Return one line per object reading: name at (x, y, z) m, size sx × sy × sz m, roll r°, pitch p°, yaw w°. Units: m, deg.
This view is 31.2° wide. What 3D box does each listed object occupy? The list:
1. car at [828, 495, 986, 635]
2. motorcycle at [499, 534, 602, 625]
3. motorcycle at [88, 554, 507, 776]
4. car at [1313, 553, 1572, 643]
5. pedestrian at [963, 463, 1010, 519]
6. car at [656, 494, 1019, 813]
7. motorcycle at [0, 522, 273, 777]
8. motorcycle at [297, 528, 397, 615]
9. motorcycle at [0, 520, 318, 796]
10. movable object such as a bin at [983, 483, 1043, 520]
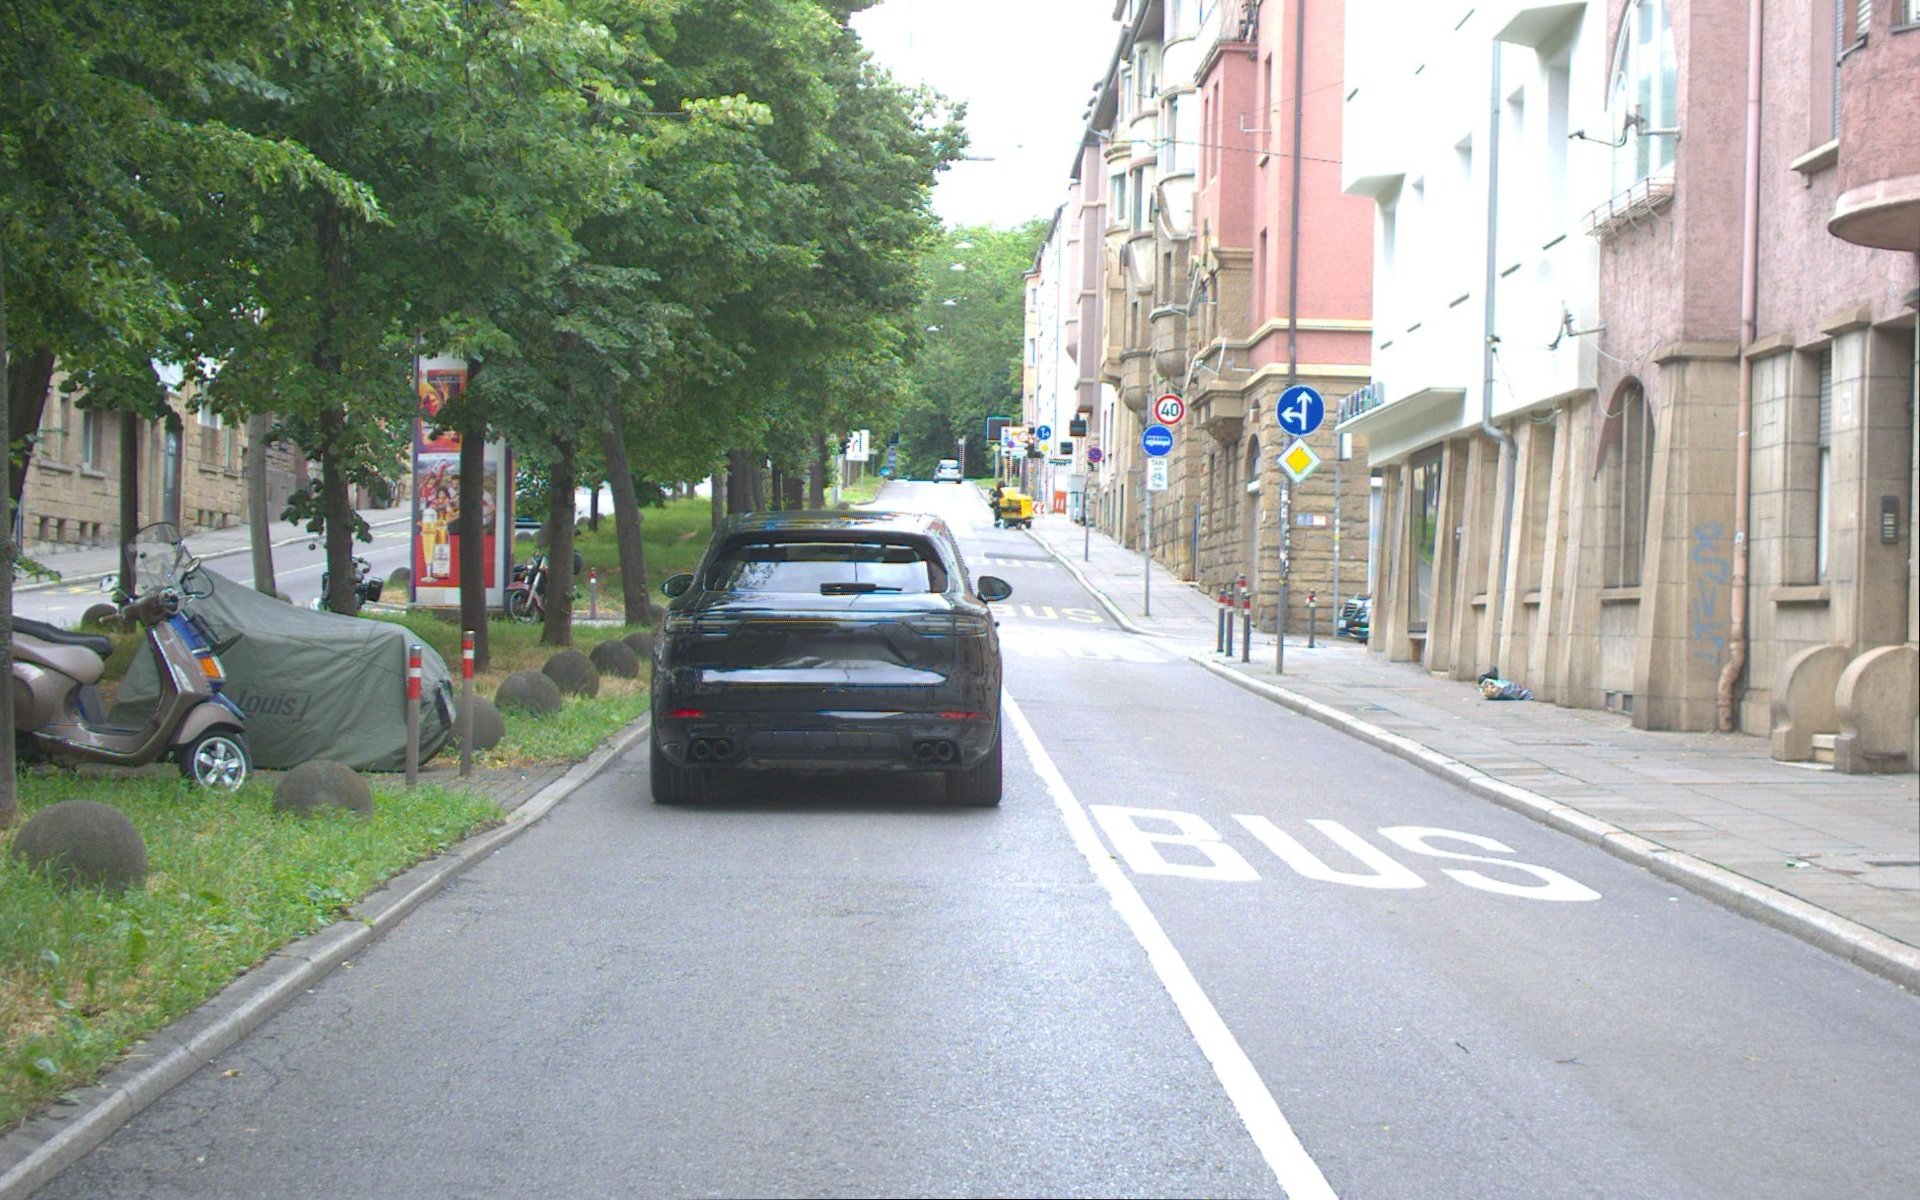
car at (-0.694, -0.495, 46.305) m, size 1.993 × 1.747 × 4.000 m, roll 2°, pitch 1°, yaw 0°
motorcycle at (-5.387, -0.290, 45.388) m, size 1.062 × 1.144 × 2.448 m, roll 1°, pitch 1°, yaw 0°
motorcycle at (-4.011, 0.381, 20.990) m, size 2.355 × 1.231 × 1.034 m, roll 2°, pitch 2°, yaw -2°
car at (7.849, -0.042, 55.749) m, size 3.988 × 1.371 × 1.999 m, roll 0°, pitch 2°, yaw -40°
pedestrian at (0.975, -3.949, 124.682) m, size 1.301 × 2.007 × 1.020 m, roll 1°, pitch 1°, yaw -35°
car at (-0.736, 0.245, 20.516) m, size 1.903 × 1.660 × 4.136 m, roll 2°, pitch 1°, yaw -2°
motorcycle at (-4.683, 0.256, 18.168) m, size 1.924 × 1.292 × 0.893 m, roll 1°, pitch -1°, yaw -2°
motorcycle at (-8.056, -0.357, 45.251) m, size 0.900 × 1.103 × 2.251 m, roll 1°, pitch 0°, yaw 0°
motorcycle at (-4.765, 0.297, 19.070) m, size 2.194 × 1.433 × 0.874 m, roll 2°, pitch 1°, yaw 2°
movable object such as a bin at (1.902, -3.535, 123.790) m, size 1.237 × 1.270 × 1.845 m, roll 1°, pitch 1°, yaw -41°
